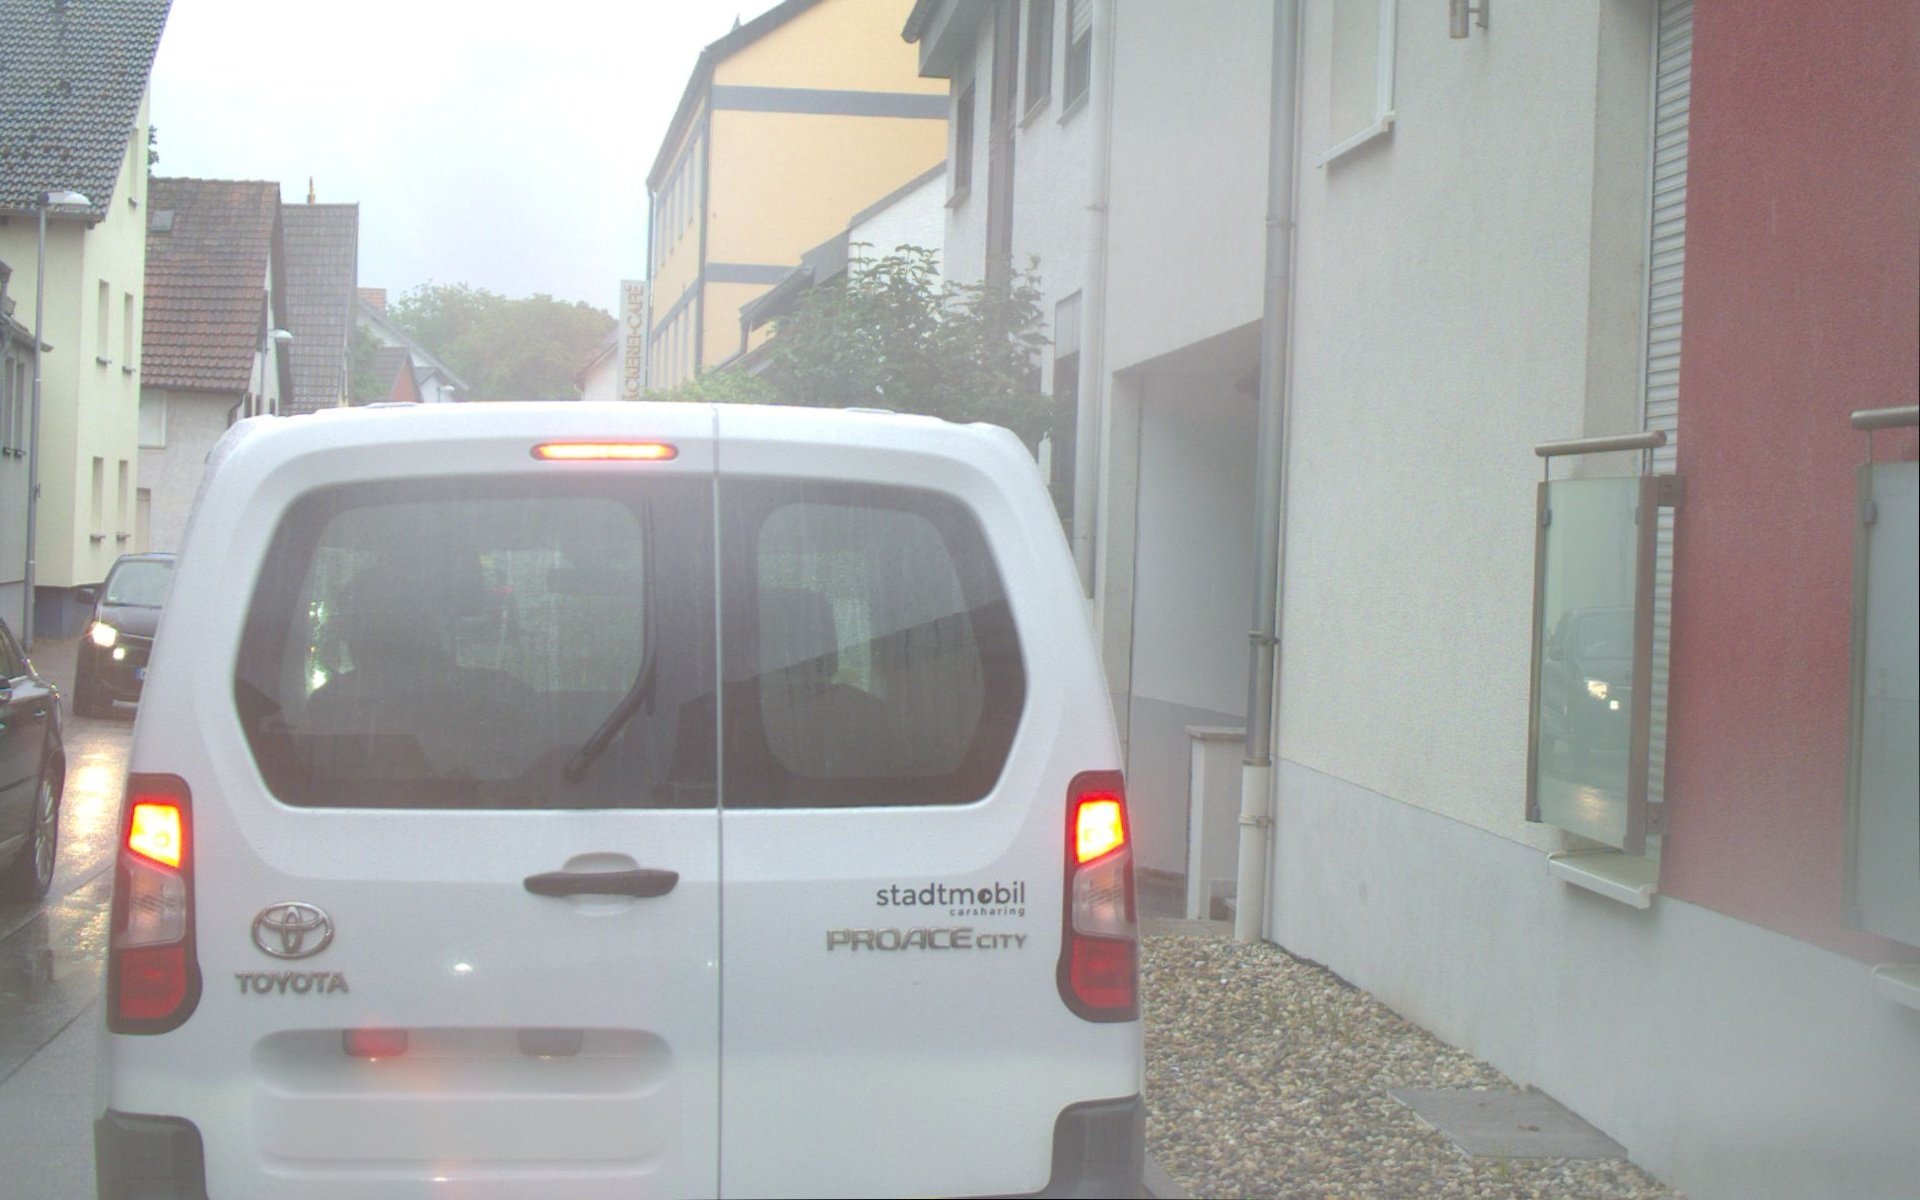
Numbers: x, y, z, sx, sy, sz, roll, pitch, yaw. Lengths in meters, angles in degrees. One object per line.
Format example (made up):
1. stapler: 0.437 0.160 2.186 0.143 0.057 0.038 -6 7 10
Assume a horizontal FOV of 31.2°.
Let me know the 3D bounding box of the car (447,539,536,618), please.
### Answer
1. car: -9.111 -0.432 66.690 1.560 1.472 4.001 1 1 -10

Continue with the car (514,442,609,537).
1. car: -8.828 -2.429 76.362 1.993 2.007 4.001 1 1 -6

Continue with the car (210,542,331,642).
1. car: -11.496 -0.162 57.522 1.832 1.550 4.241 2 0 -10

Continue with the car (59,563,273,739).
1. car: -7.482 0.438 32.655 1.604 1.508 3.689 2 1 -8

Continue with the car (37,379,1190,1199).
1. car: -0.833 0.539 7.344 1.774 1.774 4.001 1 1 -9

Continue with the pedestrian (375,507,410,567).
1. pedestrian: -18.006 -1.990 109.097 1.050 1.886 0.877 1 0 -9

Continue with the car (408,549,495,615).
1. car: -11.091 -0.403 74.841 1.779 1.390 4.001 1 1 -10

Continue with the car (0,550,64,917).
1. car: -4.690 0.532 13.302 1.695 1.504 4.342 1 0 -6
